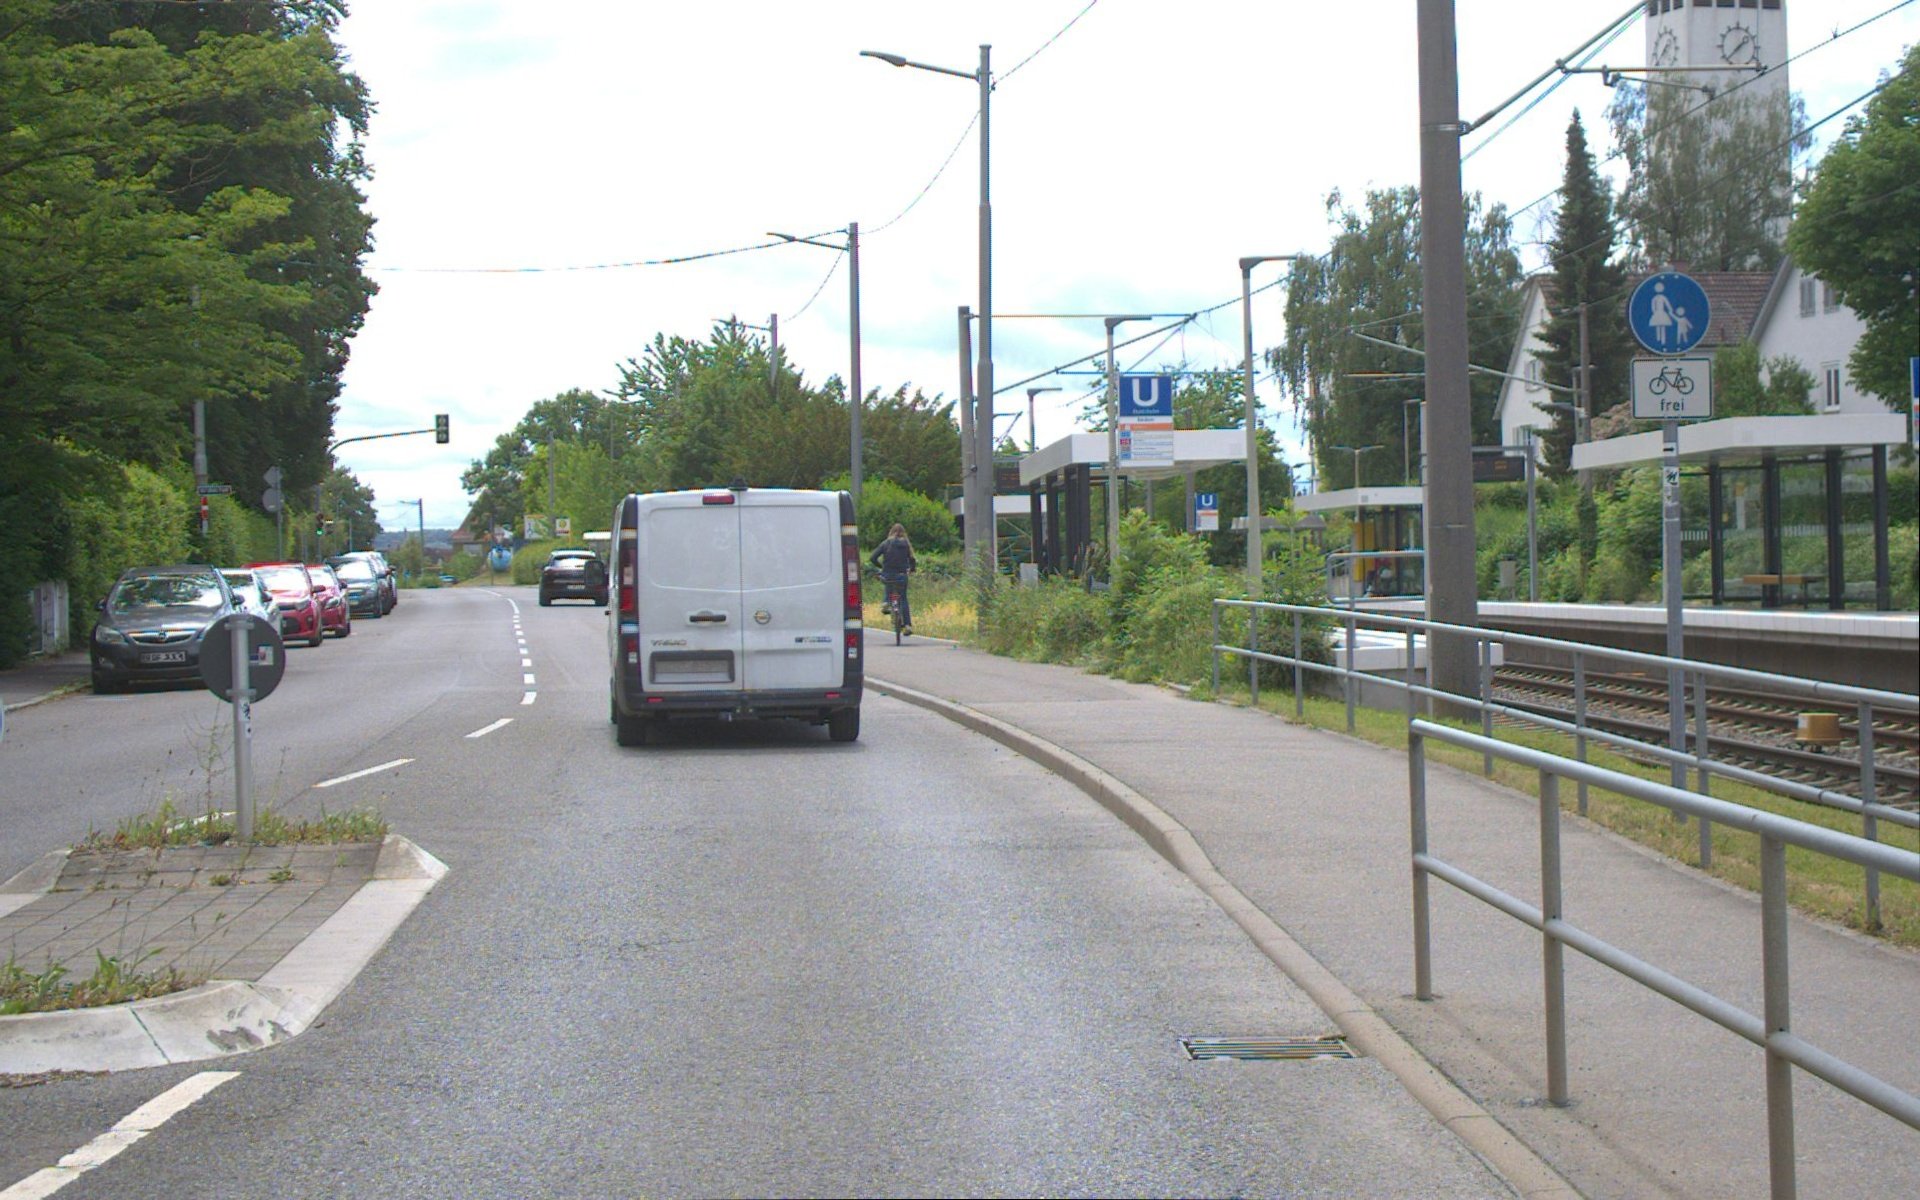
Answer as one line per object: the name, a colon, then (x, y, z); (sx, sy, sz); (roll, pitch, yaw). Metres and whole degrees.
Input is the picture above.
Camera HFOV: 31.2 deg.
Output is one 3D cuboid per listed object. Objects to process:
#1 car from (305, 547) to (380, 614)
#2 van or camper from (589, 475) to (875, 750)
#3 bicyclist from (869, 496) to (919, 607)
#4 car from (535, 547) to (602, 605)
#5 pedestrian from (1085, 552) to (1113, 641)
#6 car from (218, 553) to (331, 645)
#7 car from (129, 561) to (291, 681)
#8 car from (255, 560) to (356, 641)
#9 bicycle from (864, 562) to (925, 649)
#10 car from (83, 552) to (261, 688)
car: (-15.834, -0.531, 88.321); (1.761, 1.620, 4.187); (-2, 1, -9)
van or camper: (-1.906, 0.085, 27.411); (1.993, 2.007, 4.447); (0, 0, -7)
bicyclist: (-0.981, -0.724, 51.139); (0.639, 1.644, 0.819); (-1, 1, -8)
car: (-11.467, -0.729, 100.890); (1.852, 1.642, 3.735); (-1, 1, -5)
pedestrian: (2.094, -0.056, 51.773); (0.395, 1.339, 0.487); (0, 1, 5)
car: (-11.975, -0.041, 60.175); (1.588, 1.499, 3.516); (-2, 1, -6)
car: (-10.394, 0.252, 47.869); (1.736, 1.499, 3.964); (-3, 1, -6)
car: (-12.787, -0.018, 67.356); (1.761, 1.466, 4.187); (-2, 1, -9)
bicycle: (-0.985, 0.066, 51.294); (0.618, 1.242, 2.396); (-1, 1, -8)
car: (-9.657, 0.202, 42.416); (1.736, 1.499, 4.479); (-3, 1, -8)
